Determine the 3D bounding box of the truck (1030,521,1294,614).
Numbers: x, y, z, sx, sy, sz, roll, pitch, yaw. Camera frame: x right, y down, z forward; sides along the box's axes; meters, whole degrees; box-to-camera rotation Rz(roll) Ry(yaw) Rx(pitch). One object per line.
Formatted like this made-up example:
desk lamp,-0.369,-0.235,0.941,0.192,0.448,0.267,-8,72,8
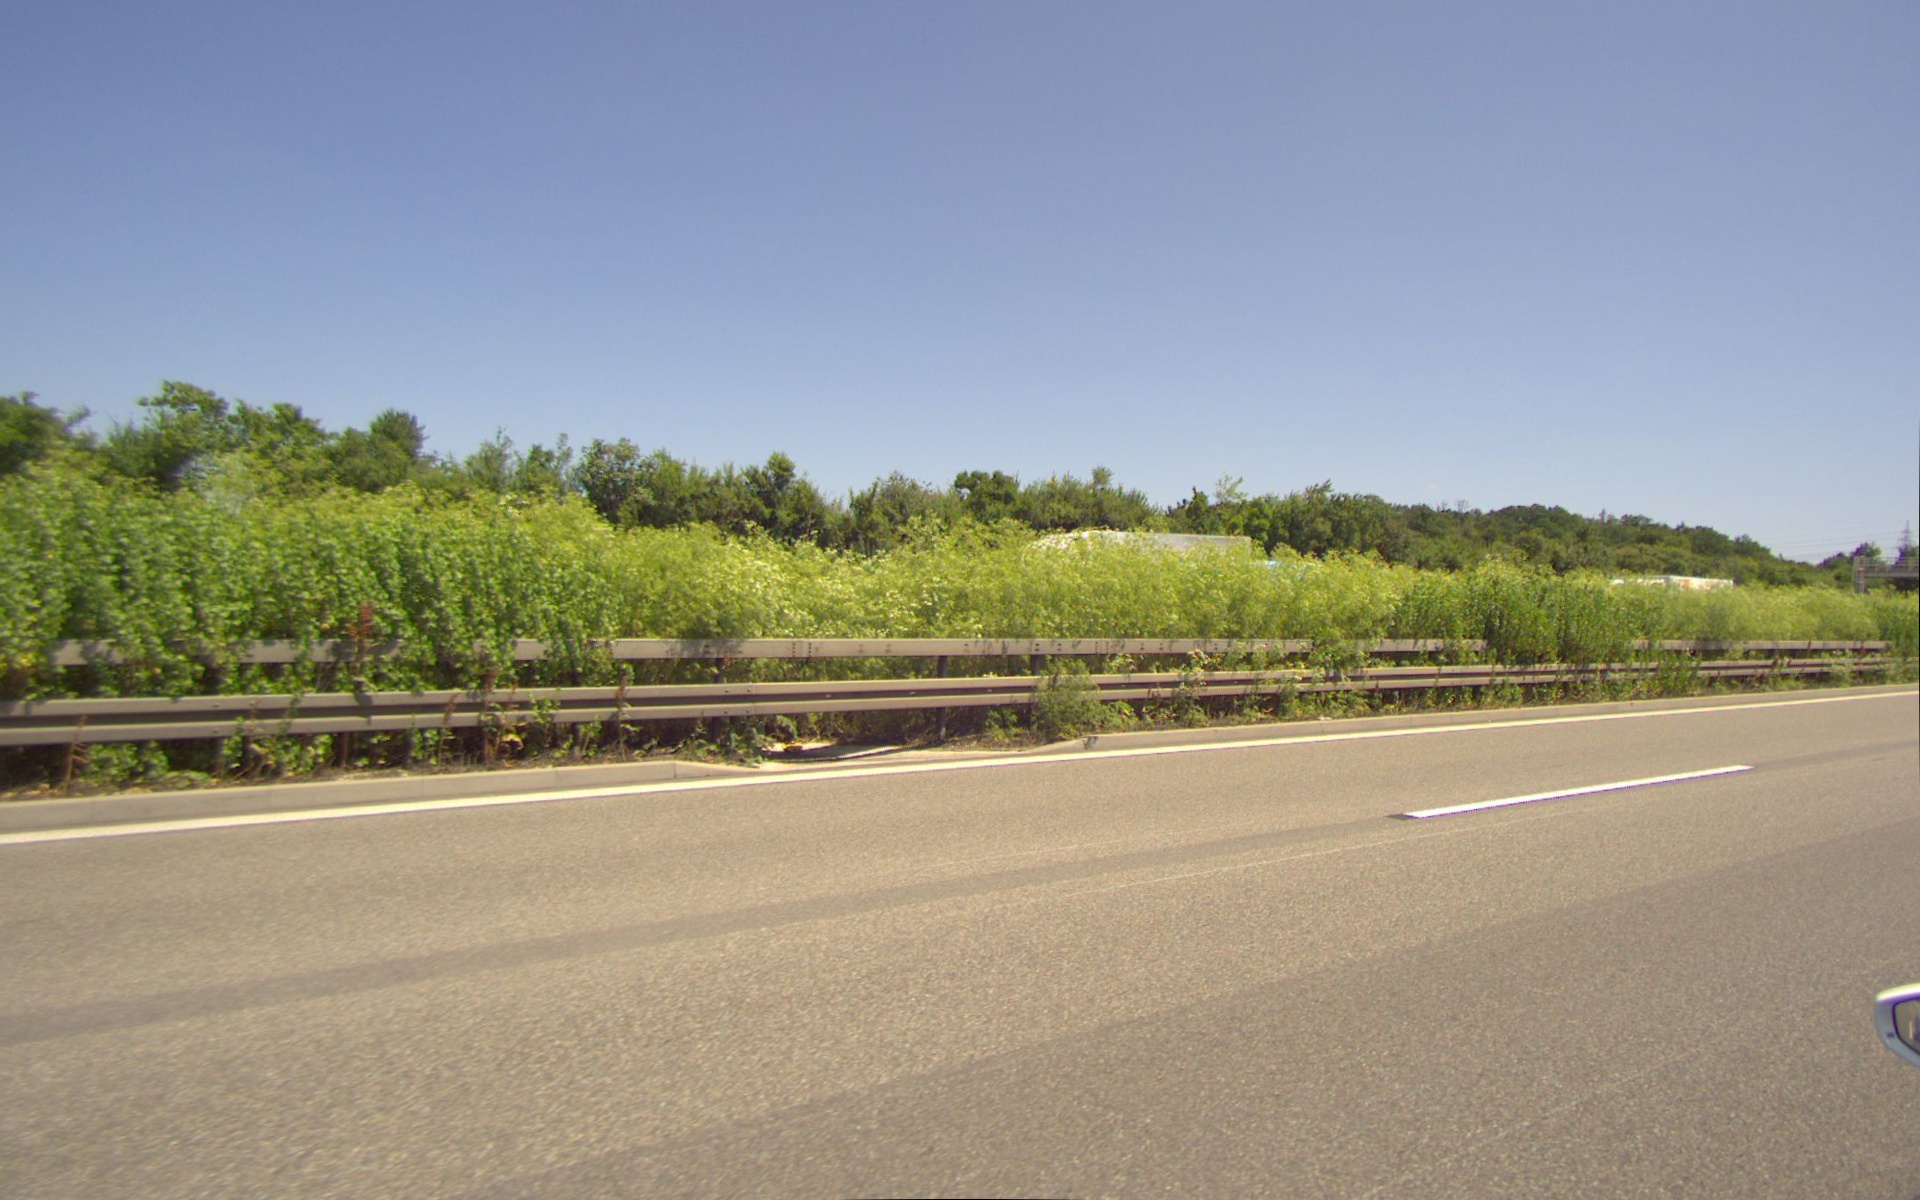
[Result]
truck,5.216,-0.690,25.494,6.720,2.040,2.479,1,-1,-32

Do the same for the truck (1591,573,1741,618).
truck,35.348,-0.130,50.159,9.748,2.040,2.639,1,-1,-32

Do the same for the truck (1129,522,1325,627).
truck,5.688,-0.460,21.278,3.956,2.040,1.845,1,-1,-32
